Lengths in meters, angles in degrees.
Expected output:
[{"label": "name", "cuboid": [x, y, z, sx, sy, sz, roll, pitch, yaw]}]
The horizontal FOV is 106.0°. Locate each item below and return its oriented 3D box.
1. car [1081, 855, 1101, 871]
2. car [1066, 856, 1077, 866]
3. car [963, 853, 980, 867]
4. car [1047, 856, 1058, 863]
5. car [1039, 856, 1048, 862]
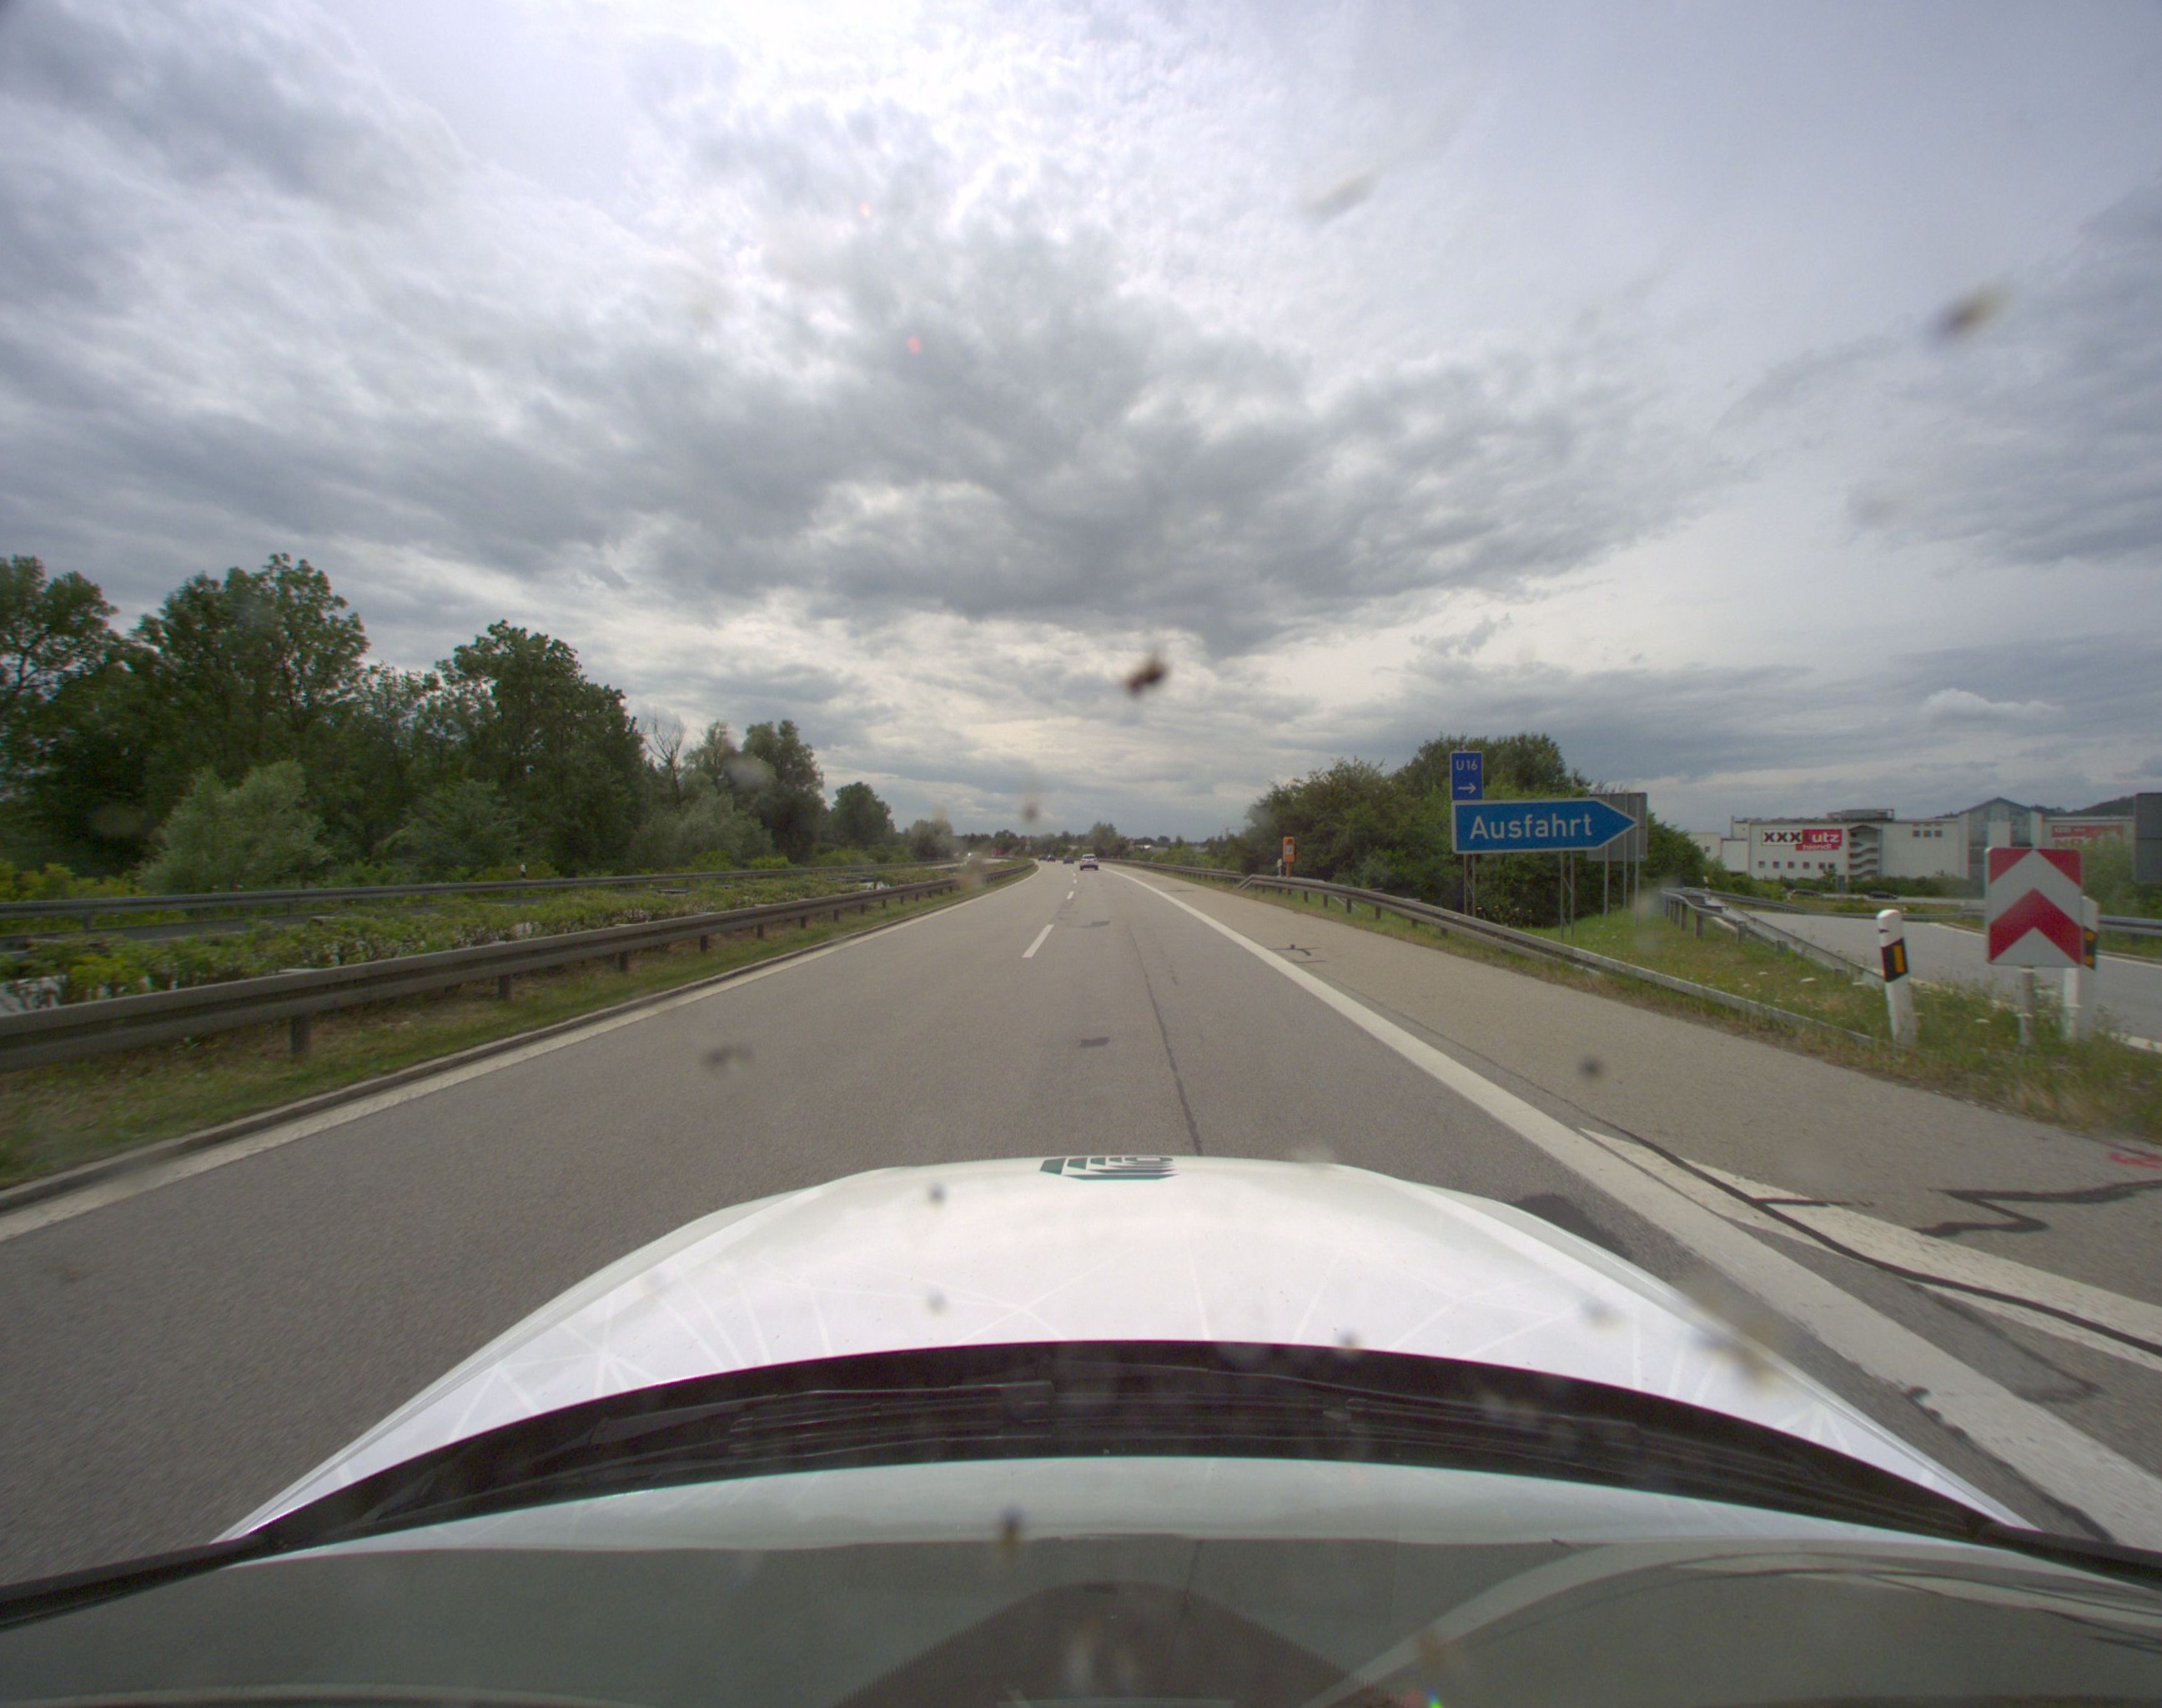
[{"label": "car", "cuboid": [1.017, 0.955, 86.098, 1.897, 1.640, 4.392, 0, 0, -2]}, {"label": "car", "cuboid": [-1.669, 1.212, 143.899, 1.888, 1.640, 4.617, 0, 0, -3]}, {"label": "car", "cuboid": [-15.280, 0.777, 114.140, 1.695, 1.884, 5.226, 0, 0, 0]}, {"label": "car", "cuboid": [-6.521, 1.249, 187.464, 1.901, 1.640, 4.765, 0, 0, -8]}, {"label": "car", "cuboid": [-9.961, 1.329, 215.326, 1.827, 1.794, 4.396, 0, 0, -11]}]
